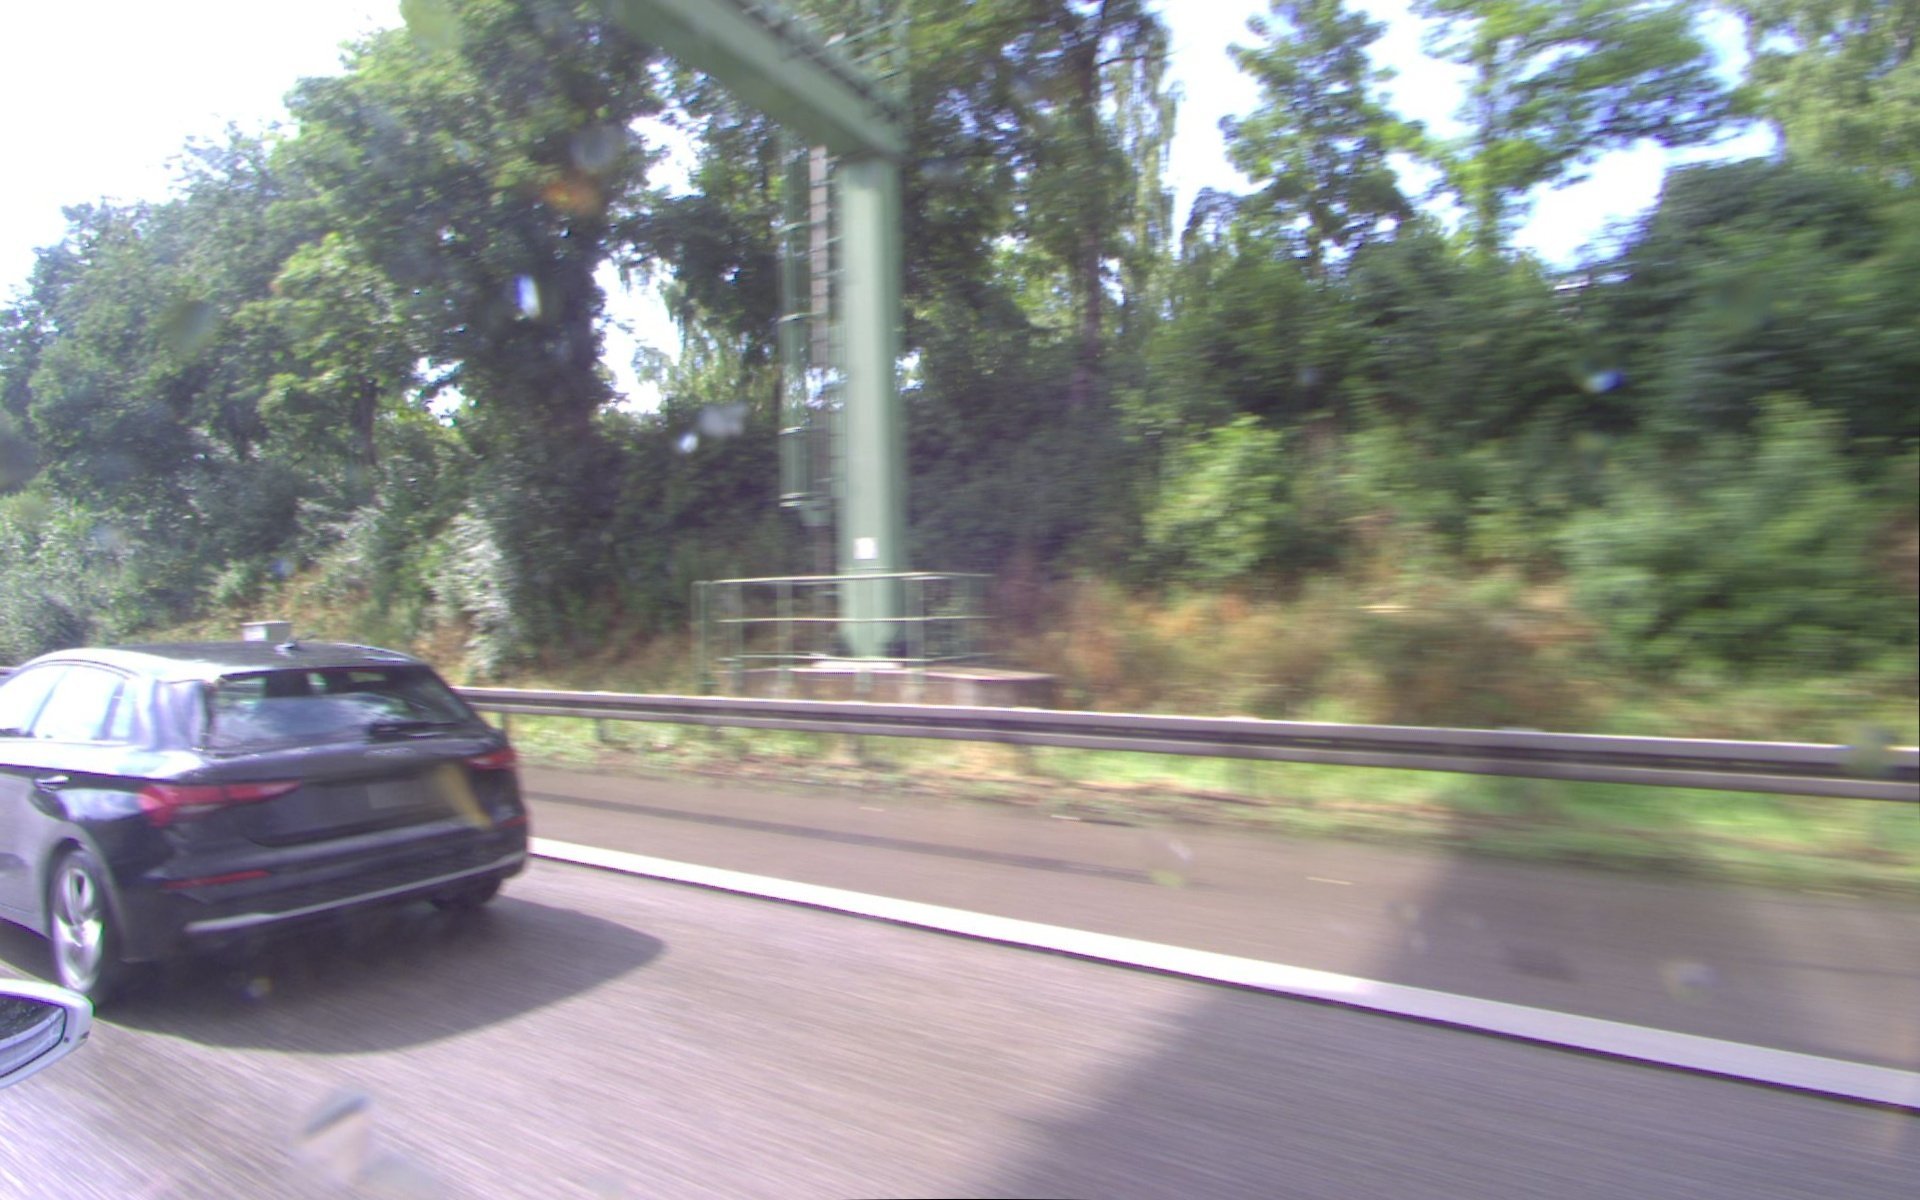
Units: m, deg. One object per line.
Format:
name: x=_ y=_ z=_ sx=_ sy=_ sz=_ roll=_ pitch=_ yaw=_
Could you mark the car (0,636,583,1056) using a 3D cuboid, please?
car: x=-4.128 y=0.908 z=5.317 sx=4.306 sy=1.414 sz=1.752 roll=-1 pitch=-2 yaw=32
